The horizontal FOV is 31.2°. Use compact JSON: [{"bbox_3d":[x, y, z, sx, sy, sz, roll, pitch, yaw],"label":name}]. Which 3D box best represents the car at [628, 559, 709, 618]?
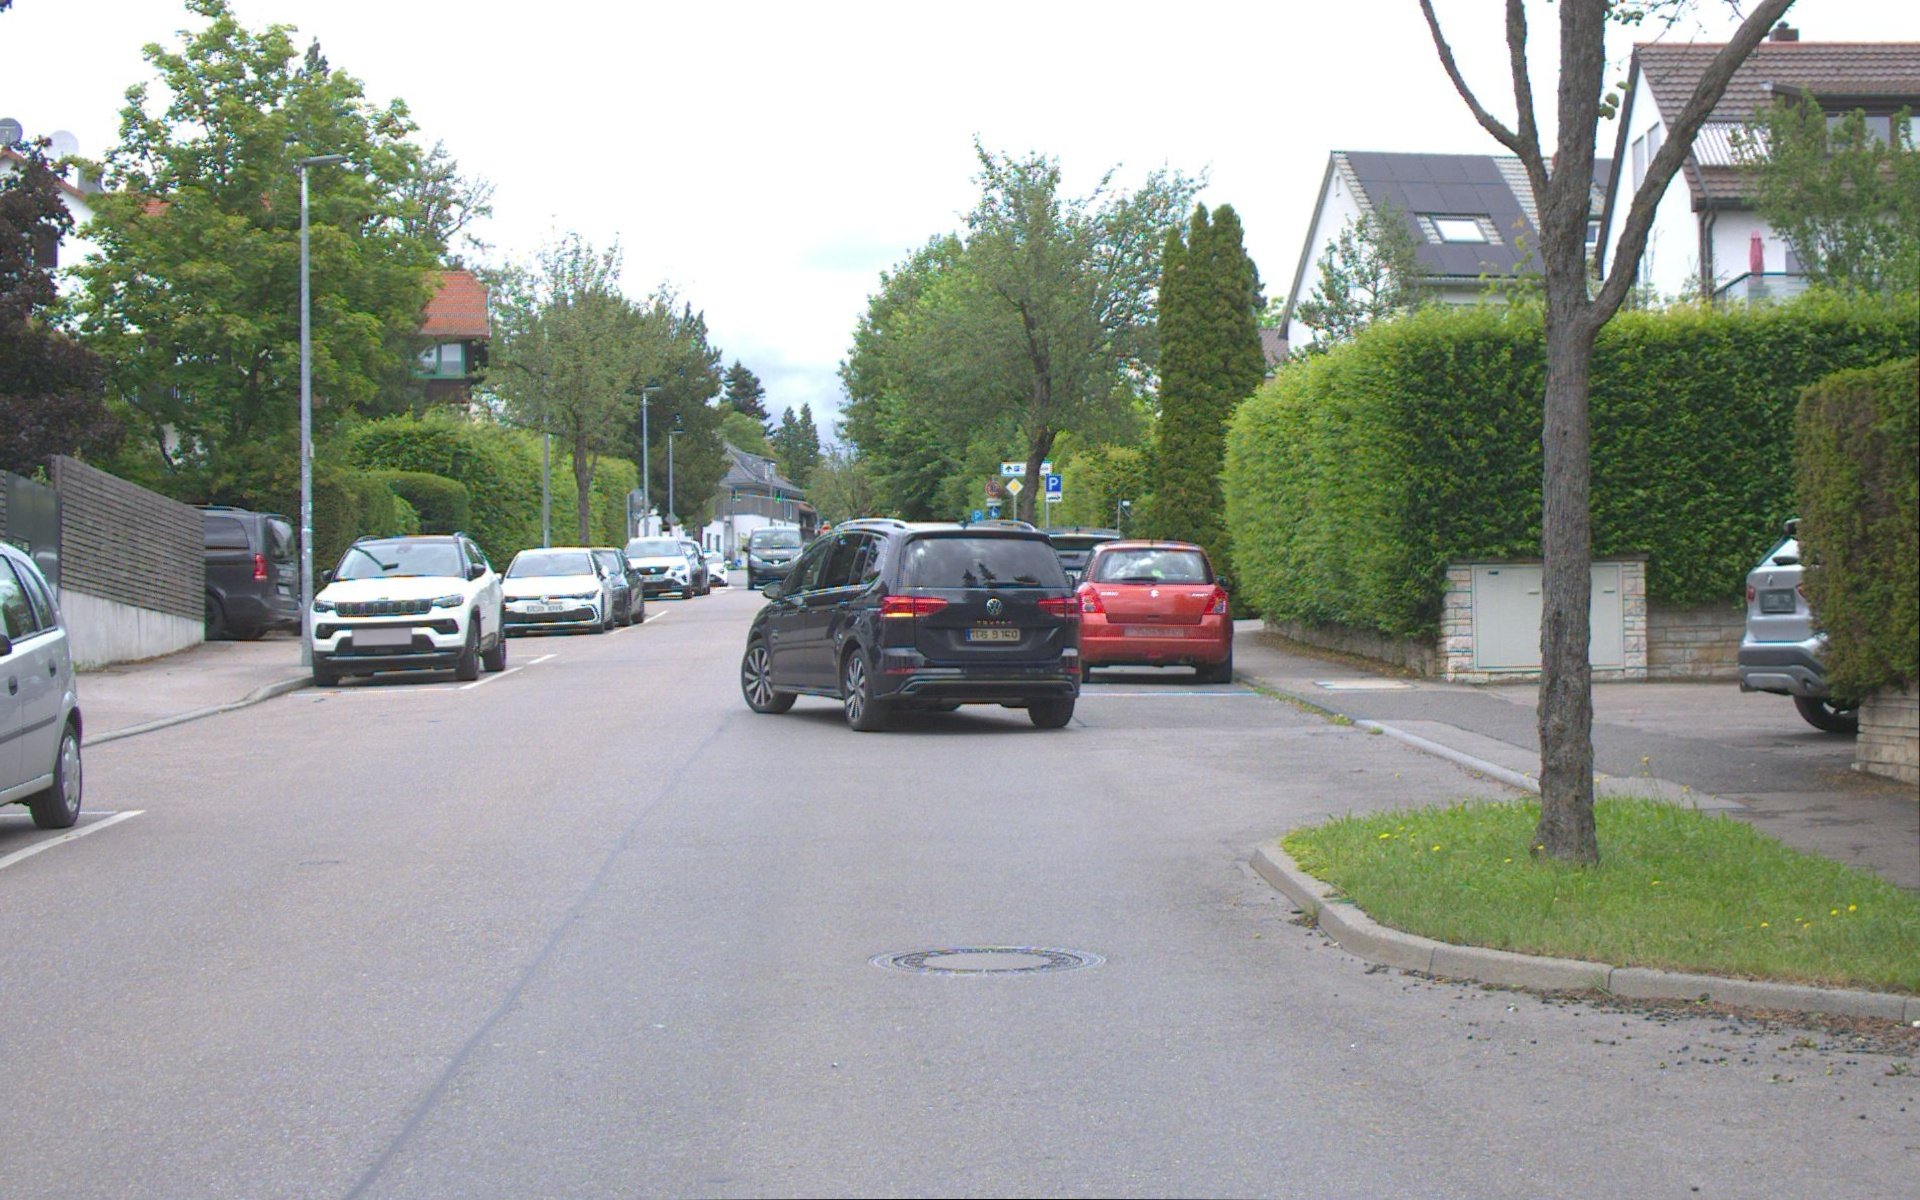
[{"bbox_3d":[-7.437,-0.277,87.992,1.762,1.383,4.000,-2,0,-2],"label":"car"}]

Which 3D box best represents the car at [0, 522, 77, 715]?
[{"bbox_3d":[-10.156,0.065,29.940,4.411,1.623,1.911,2,1,-2],"label":"car"}]

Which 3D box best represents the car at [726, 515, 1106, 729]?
[{"bbox_3d":[-0.455,0.142,28.198,1.847,1.606,4.312,0,1,-19],"label":"car"}]

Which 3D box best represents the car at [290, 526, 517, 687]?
[{"bbox_3d":[-6.242,0.028,39.005,1.837,1.660,4.408,-2,1,-1],"label":"car"}]

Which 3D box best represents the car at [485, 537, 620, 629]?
[{"bbox_3d":[-6.761,-0.314,57.449,1.837,1.417,4.409,-2,1,-2],"label":"car"}]

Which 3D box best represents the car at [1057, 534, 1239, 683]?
[{"bbox_3d":[1.964,0.052,36.885,1.661,1.503,3.759,0,1,-1],"label":"car"}]

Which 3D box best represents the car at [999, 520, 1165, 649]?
[{"bbox_3d":[1.602,-0.226,46.580,1.993,1.612,4.513,2,1,-1],"label":"car"}]

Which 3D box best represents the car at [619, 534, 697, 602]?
[{"bbox_3d":[-7.177,-0.787,82.052,1.722,1.535,4.001,-2,1,-4],"label":"car"}]

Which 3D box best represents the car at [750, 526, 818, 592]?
[{"bbox_3d":[-5.157,-1.222,101.044,1.885,1.844,4.402,-1,1,-2],"label":"car"}]

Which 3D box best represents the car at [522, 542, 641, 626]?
[{"bbox_3d":[-6.813,-0.289,62.154,1.727,1.418,4.079,-2,1,-1],"label":"car"}]

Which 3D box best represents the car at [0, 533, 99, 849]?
[{"bbox_3d":[-5.645,0.467,17.200,1.760,1.557,3.856,-1,1,-2],"label":"car"}]

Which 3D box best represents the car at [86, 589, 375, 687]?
[{"bbox_3d":[-11.244,0.573,53.074,3.989,1.440,1.778,0,1,12],"label":"car"}]

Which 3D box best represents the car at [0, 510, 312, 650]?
[{"bbox_3d":[-11.603,-0.269,49.431,4.073,1.943,1.999,0,0,7],"label":"car"}]

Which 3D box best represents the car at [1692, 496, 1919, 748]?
[{"bbox_3d":[7.444,0.058,23.787,4.206,1.594,1.883,-3,2,-10],"label":"car"}]

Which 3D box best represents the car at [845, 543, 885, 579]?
[{"bbox_3d":[-4.554,-1.861,164.082,1.664,1.662,3.468,0,1,-5],"label":"car"}]
